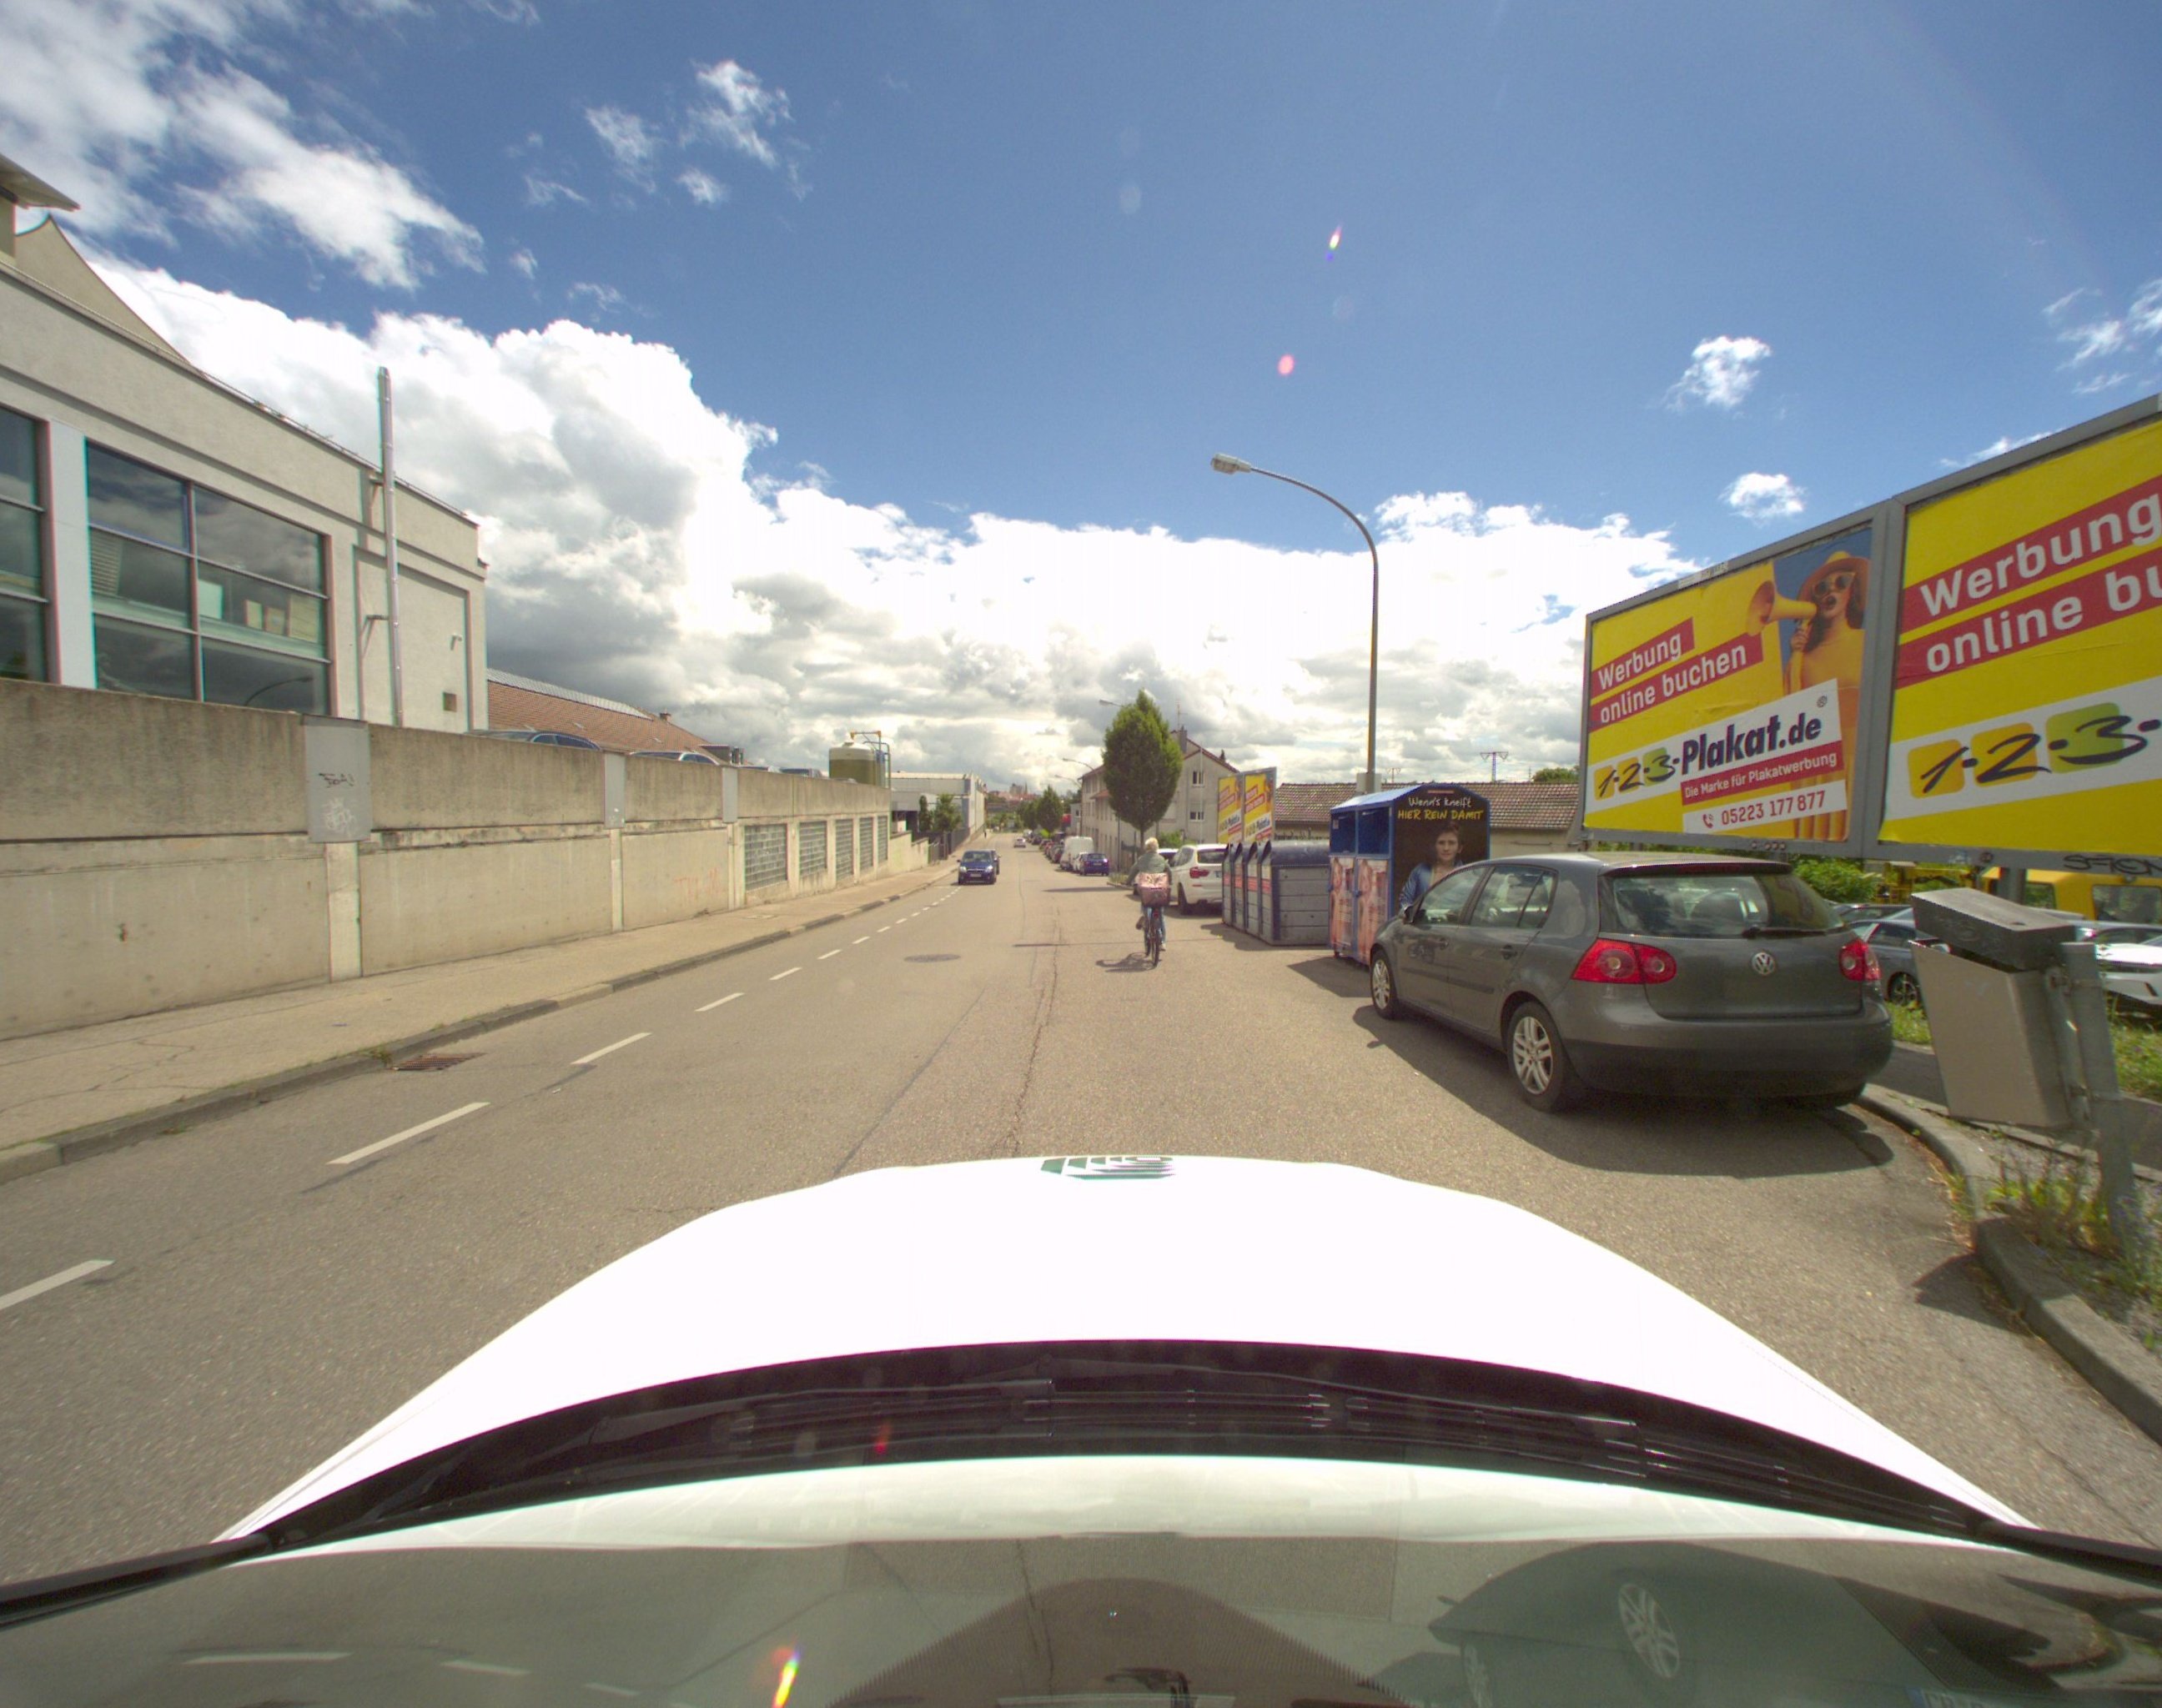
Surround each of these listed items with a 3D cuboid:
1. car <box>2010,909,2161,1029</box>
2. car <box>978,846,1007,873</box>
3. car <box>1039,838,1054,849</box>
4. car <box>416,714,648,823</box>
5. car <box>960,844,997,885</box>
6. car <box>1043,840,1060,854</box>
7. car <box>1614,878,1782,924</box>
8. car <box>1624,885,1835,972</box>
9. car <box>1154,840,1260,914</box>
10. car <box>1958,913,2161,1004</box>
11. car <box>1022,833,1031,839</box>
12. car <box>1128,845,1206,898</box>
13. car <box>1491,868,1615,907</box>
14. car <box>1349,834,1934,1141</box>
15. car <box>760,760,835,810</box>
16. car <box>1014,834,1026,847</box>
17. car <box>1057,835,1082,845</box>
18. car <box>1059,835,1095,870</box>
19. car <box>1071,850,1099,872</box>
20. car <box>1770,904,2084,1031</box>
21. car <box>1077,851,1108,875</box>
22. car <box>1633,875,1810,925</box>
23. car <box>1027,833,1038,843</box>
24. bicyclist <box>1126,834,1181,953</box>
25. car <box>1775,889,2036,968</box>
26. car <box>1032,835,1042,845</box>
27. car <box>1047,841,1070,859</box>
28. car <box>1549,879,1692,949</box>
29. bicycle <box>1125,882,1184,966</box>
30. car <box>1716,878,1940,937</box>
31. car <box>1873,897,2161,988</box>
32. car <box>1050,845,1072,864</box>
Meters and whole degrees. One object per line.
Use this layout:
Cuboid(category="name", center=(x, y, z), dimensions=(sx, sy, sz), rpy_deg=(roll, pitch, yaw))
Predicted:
Cuboid(category="car", center=(17.380, 1.700, 12.095), dimensions=(4.415, 1.554, 2.007), rpy_deg=(0, 0, 13))
Cuboid(category="car", center=(-5.794, 0.334, 53.467), dimensions=(1.797, 1.622, 4.084), rpy_deg=(-1, 0, -6))
Cuboid(category="car", center=(-4.890, -1.531, 113.978), dimensions=(1.789, 1.465, 4.698), rpy_deg=(0, 1, -7))
Cuboid(category="car", center=(-10.084, -1.477, 15.417), dimensions=(1.802, 1.636, 4.098), rpy_deg=(0, 0, -4))
Cuboid(category="car", center=(-4.851, 0.476, 38.604), dimensions=(1.625, 1.817, 3.771), rpy_deg=(-1, 0, -7))
Cuboid(category="car", center=(-3.555, -0.849, 97.963), dimensions=(1.732, 1.472, 4.255), rpy_deg=(1, 3, -5))
Cuboid(category="car", center=(20.399, 1.546, 27.146), dimensions=(4.138, 1.390, 1.800), rpy_deg=(-1, 0, 22))
Cuboid(category="car", center=(14.506, 1.585, 18.611), dimensions=(1.741, 1.517, 4.594), rpy_deg=(-1, 0, 9))
Cuboid(category="car", center=(3.063, 0.505, 20.697), dimensions=(1.682, 1.659, 4.472), rpy_deg=(0, 0, -5))
Cuboid(category="car", center=(18.320, 1.793, 14.094), dimensions=(3.957, 1.330, 1.763), rpy_deg=(0, 0, 16))
Cuboid(category="car", center=(-13.339, -4.402, 198.972), dimensions=(1.701, 1.527, 3.727), rpy_deg=(3, 2, -9))
Cuboid(category="car", center=(2.701, 0.516, 26.546), dimensions=(1.838, 1.565, 4.460), rpy_deg=(-1, 0, -3))
Cuboid(category="car", center=(18.104, 1.267, 31.289), dimensions=(3.991, 1.390, 1.534), rpy_deg=(-1, 0, 34))
Cuboid(category="car", center=(3.433, 0.656, 6.049), dimensions=(1.649, 1.485, 4.047), rpy_deg=(-1, 0, 2))
Cuboid(category="car", center=(-11.360, -2.722, 32.930), dimensions=(1.802, 1.636, 4.098), rpy_deg=(0, 0, -4))
Cuboid(category="car", center=(-9.176, -2.030, 122.379), dimensions=(1.565, 1.786, 3.598), rpy_deg=(0, 0, -6))
Cuboid(category="car", center=(-1.895, -2.265, 134.504), dimensions=(1.735, 1.462, 4.025), rpy_deg=(-5, 3, -44))
Cuboid(category="car", center=(-0.412, -0.115, 63.977), dimensions=(2.031, 2.641, 7.266), rpy_deg=(0, 0, -7))
Cuboid(category="car", center=(0.256, 0.476, 57.872), dimensions=(1.591, 1.510, 3.781), rpy_deg=(0, 0, -7))
Cuboid(category="car", center=(13.799, 1.743, 13.693), dimensions=(1.682, 1.446, 4.169), rpy_deg=(1, 1, 14))
Cuboid(category="car", center=(0.726, 0.542, 52.944), dimensions=(1.565, 1.510, 4.086), rpy_deg=(0, 0, -6))
Cuboid(category="car", center=(19.368, 1.372, 24.840), dimensions=(3.954, 1.390, 1.606), rpy_deg=(-1, 0, 23))
Cuboid(category="car", center=(-9.338, -3.056, 155.127), dimensions=(1.867, 1.990, 5.134), rpy_deg=(0, 2, -6))
Cuboid(category="bicyclist", center=(1.021, 0.541, 11.577), dimensions=(0.737, 1.626, 0.732), rpy_deg=(0, 0, 2))
Cuboid(category="car", center=(19.210, 1.687, 19.195), dimensions=(3.957, 1.612, 1.804), rpy_deg=(0, 0, 16))
Cuboid(category="car", center=(-7.648, -2.449, 140.279), dimensions=(1.676, 1.637, 4.117), rpy_deg=(0, 2, -4))
Cuboid(category="car", center=(-2.406, -0.434, 85.747), dimensions=(1.676, 1.637, 4.782), rpy_deg=(2, 3, -9))
Cuboid(category="car", center=(15.214, 1.630, 23.280), dimensions=(1.800, 1.621, 4.476), rpy_deg=(-1, 0, 11))
Cuboid(category="bicycle", center=(1.013, 0.955, 11.574), dimensions=(0.737, 0.975, 1.734), rpy_deg=(1, 2, 2))
Cuboid(category="car", center=(19.569, 1.398, 21.530), dimensions=(3.999, 1.390, 1.751), rpy_deg=(-1, 0, 16))
Cuboid(category="car", center=(19.040, 1.721, 16.462), dimensions=(3.957, 1.559, 1.830), rpy_deg=(0, 0, 16))
Cuboid(category="car", center=(-1.983, 0.006, 80.198), dimensions=(1.702, 1.509, 5.077), rpy_deg=(2, 2, -7))
